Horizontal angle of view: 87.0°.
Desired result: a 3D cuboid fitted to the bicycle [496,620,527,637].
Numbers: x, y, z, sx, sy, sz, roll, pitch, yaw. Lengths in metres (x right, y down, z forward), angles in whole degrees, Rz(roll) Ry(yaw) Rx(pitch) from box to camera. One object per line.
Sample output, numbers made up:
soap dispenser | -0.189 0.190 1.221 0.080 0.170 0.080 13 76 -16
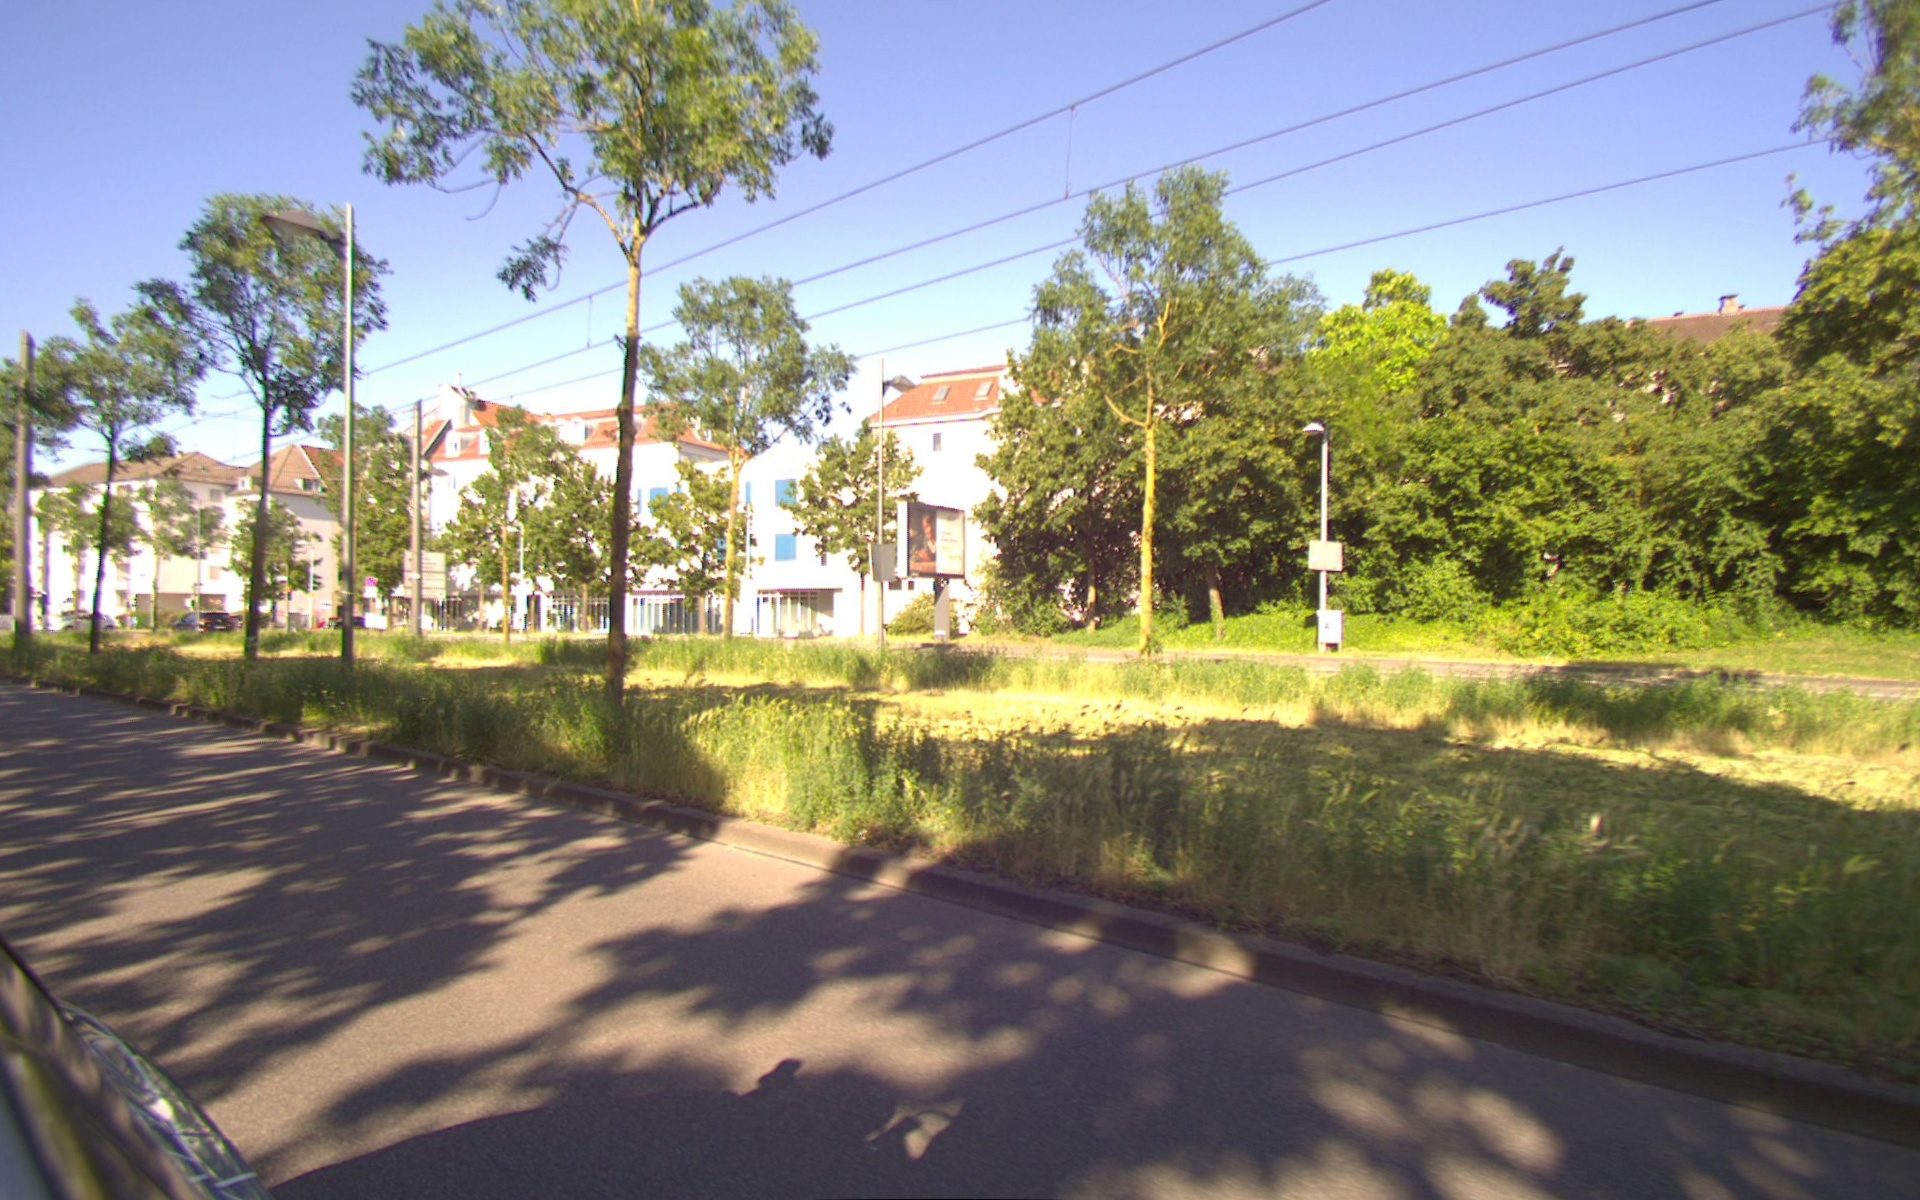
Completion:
bicycle | -33.103 2.084 74.677 2.542 1.222 0.712 -1 -1 30

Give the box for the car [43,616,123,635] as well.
car | -68.489 1.984 79.066 2.319 1.476 4.156 -1 -1 23

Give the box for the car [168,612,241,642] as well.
car | -42.943 1.504 57.505 4.473 1.653 1.806 -1 -1 31

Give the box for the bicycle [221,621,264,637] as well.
bicycle | -53.960 2.152 76.129 0.780 1.168 2.555 -1 -1 28

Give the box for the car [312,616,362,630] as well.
car | -62.883 2.330 102.201 1.692 1.320 4.057 -1 -1 23

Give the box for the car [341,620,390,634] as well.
car | -59.509 2.696 101.428 1.692 1.320 4.057 -1 -1 23

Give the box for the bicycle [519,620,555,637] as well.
bicycle | -31.124 2.096 74.525 0.717 1.222 2.526 -1 -1 30
